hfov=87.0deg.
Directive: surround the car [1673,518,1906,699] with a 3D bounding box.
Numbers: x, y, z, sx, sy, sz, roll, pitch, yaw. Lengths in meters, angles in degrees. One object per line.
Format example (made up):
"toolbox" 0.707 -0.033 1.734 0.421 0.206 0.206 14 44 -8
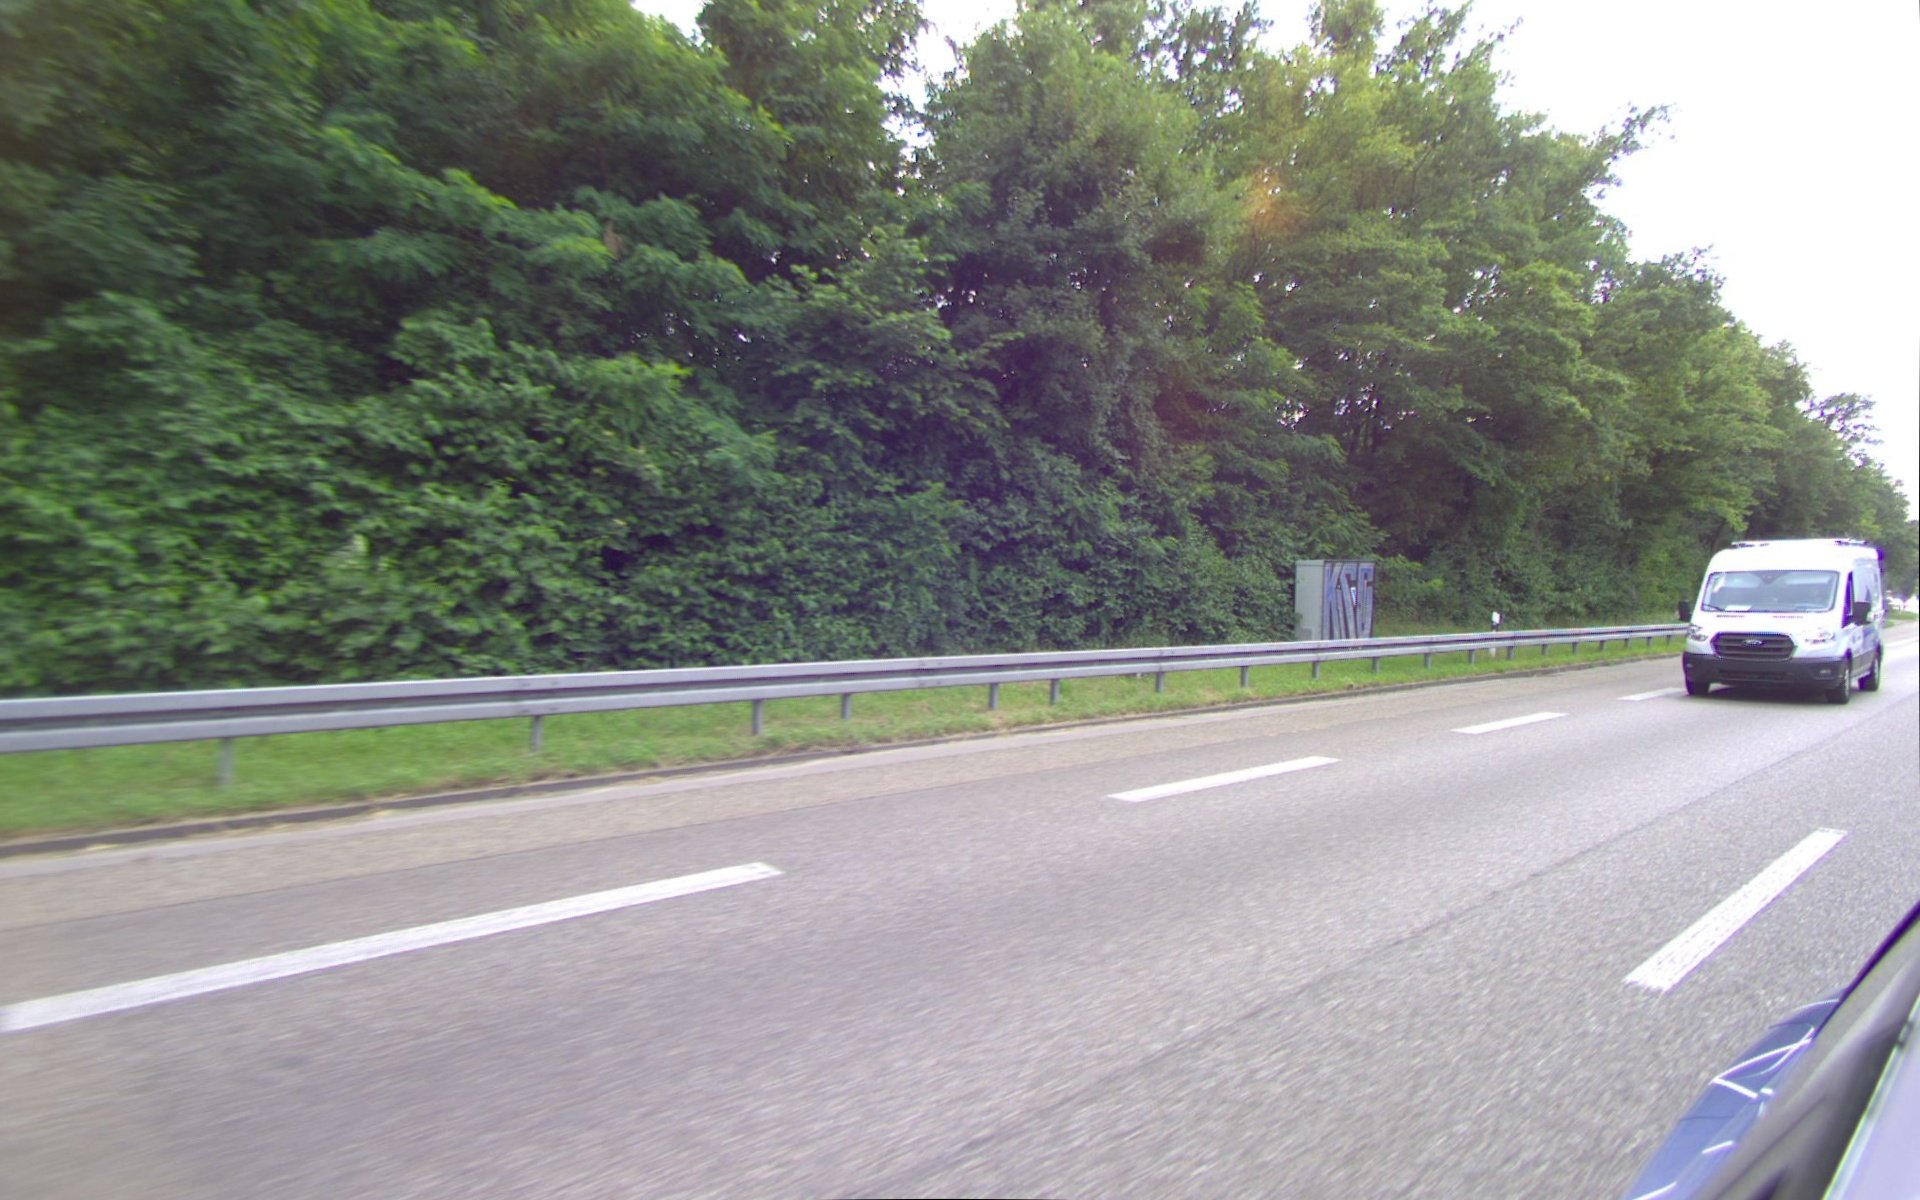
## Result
"car" 13.788 0.107 16.700 5.186 2.539 2.102 0 0 -41
